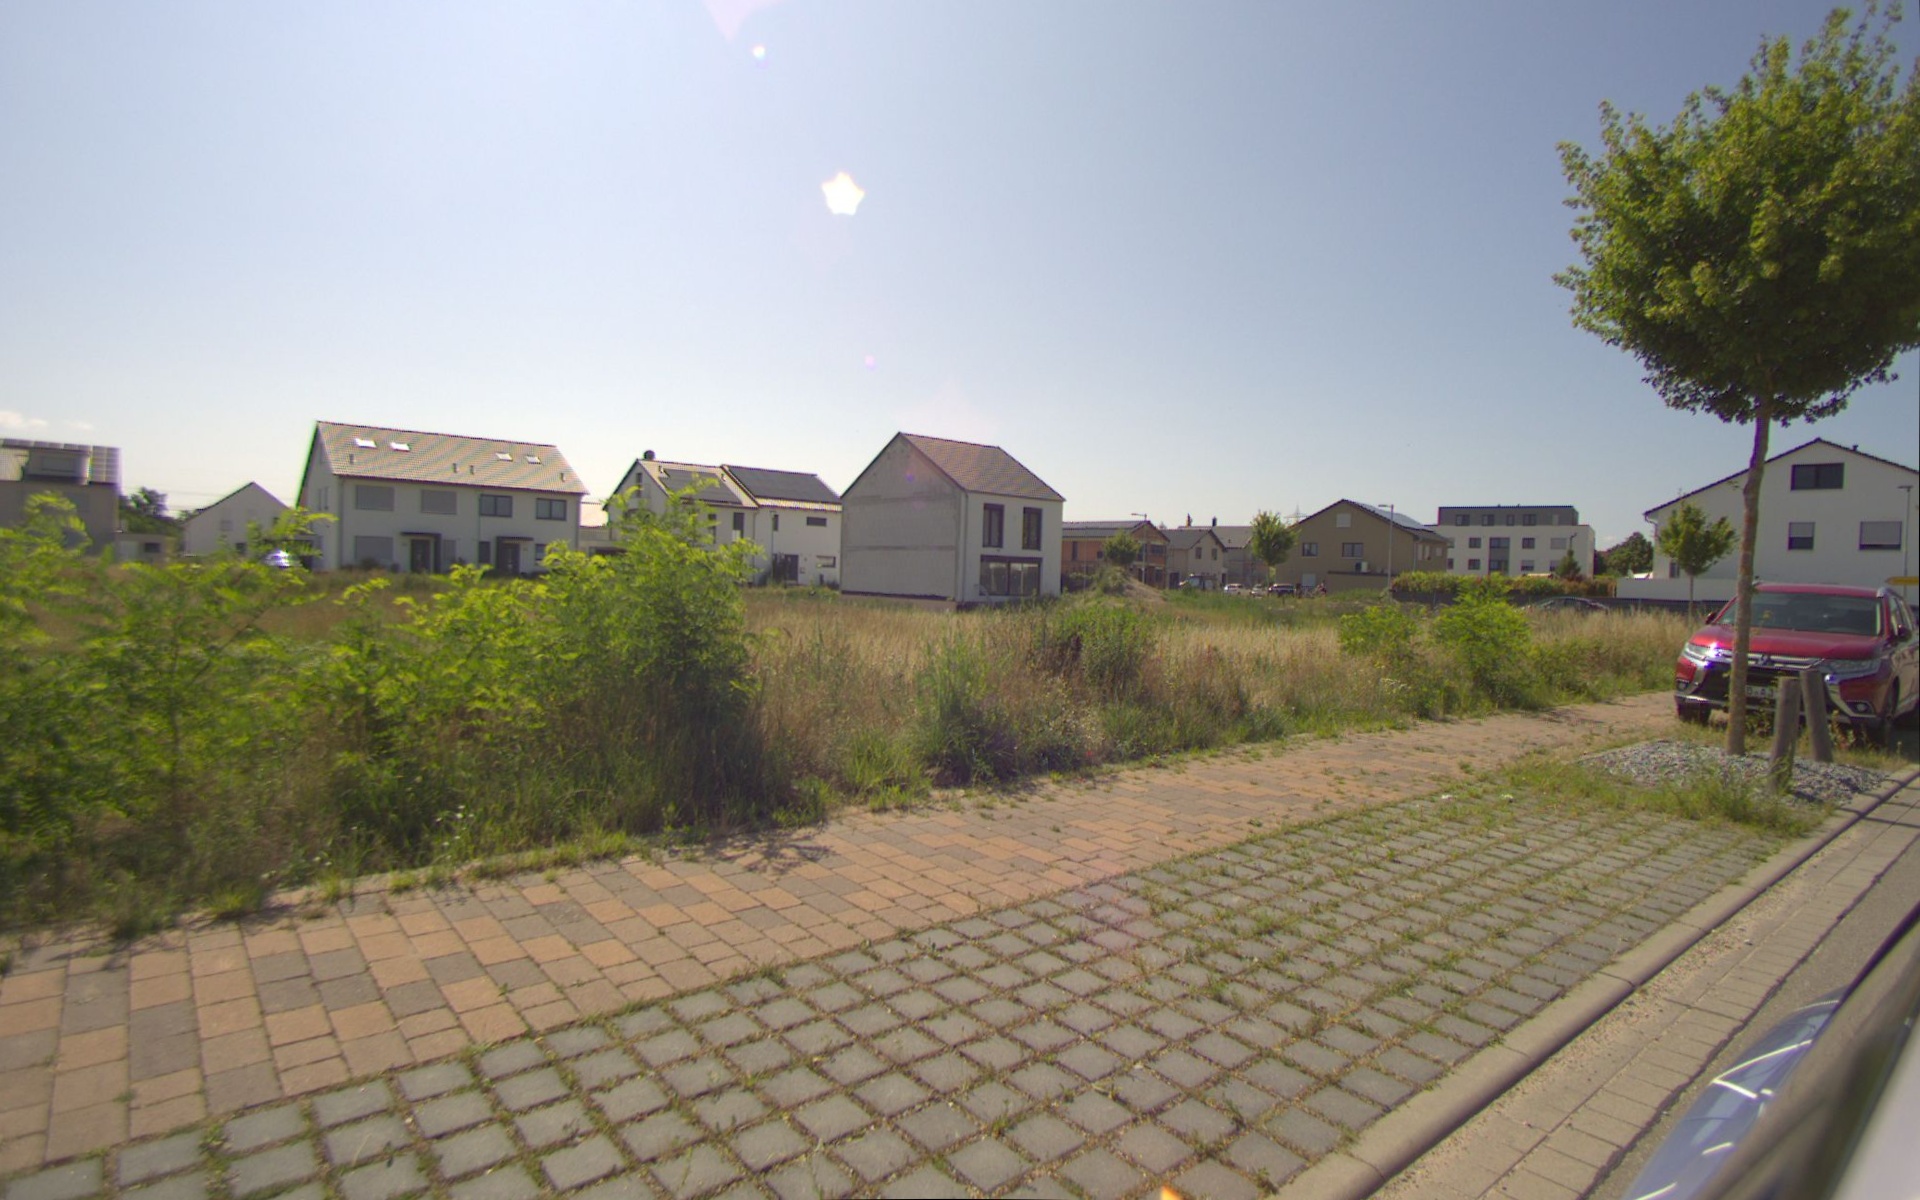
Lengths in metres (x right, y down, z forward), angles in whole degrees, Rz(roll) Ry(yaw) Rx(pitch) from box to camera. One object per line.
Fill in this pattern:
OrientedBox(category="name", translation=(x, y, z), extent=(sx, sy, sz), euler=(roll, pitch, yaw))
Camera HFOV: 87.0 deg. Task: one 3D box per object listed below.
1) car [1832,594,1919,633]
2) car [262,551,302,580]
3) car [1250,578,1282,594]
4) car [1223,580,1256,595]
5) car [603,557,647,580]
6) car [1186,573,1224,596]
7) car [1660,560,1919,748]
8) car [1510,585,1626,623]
OrientedBox(category="car", translation=(41.058, 0.607, 44.149), extent=(1.926, 1.577, 4.344), euler=(1, 1, -41))
OrientedBox(category="car", translation=(-39.421, -1.993, 58.780), extent=(1.781, 1.593, 4.000), euler=(1, 2, -36))
OrientedBox(category="car", translation=(32.554, -1.470, 107.502), extent=(1.743, 1.521, 3.940), euler=(3, 2, 41))
OrientedBox(category="car", translation=(28.407, -1.221, 102.766), extent=(1.661, 1.418, 3.862), euler=(3, 2, 41))
OrientedBox(category="car", translation=(-23.597, -2.202, 71.197), extent=(1.781, 1.531, 4.000), euler=(1, 2, -36))
OrientedBox(category="car", translation=(23.640, -1.479, 97.539), extent=(1.992, 2.038, 3.940), euler=(3, 2, 41))
OrientedBox(category="car", translation=(9.644, 0.498, 11.411), extent=(4.355, 1.683, 1.781), euler=(1, 3, -41))
OrientedBox(category="car", translation=(27.225, 0.151, 45.382), extent=(4.181, 1.512, 1.820), euler=(2, 2, 44))
